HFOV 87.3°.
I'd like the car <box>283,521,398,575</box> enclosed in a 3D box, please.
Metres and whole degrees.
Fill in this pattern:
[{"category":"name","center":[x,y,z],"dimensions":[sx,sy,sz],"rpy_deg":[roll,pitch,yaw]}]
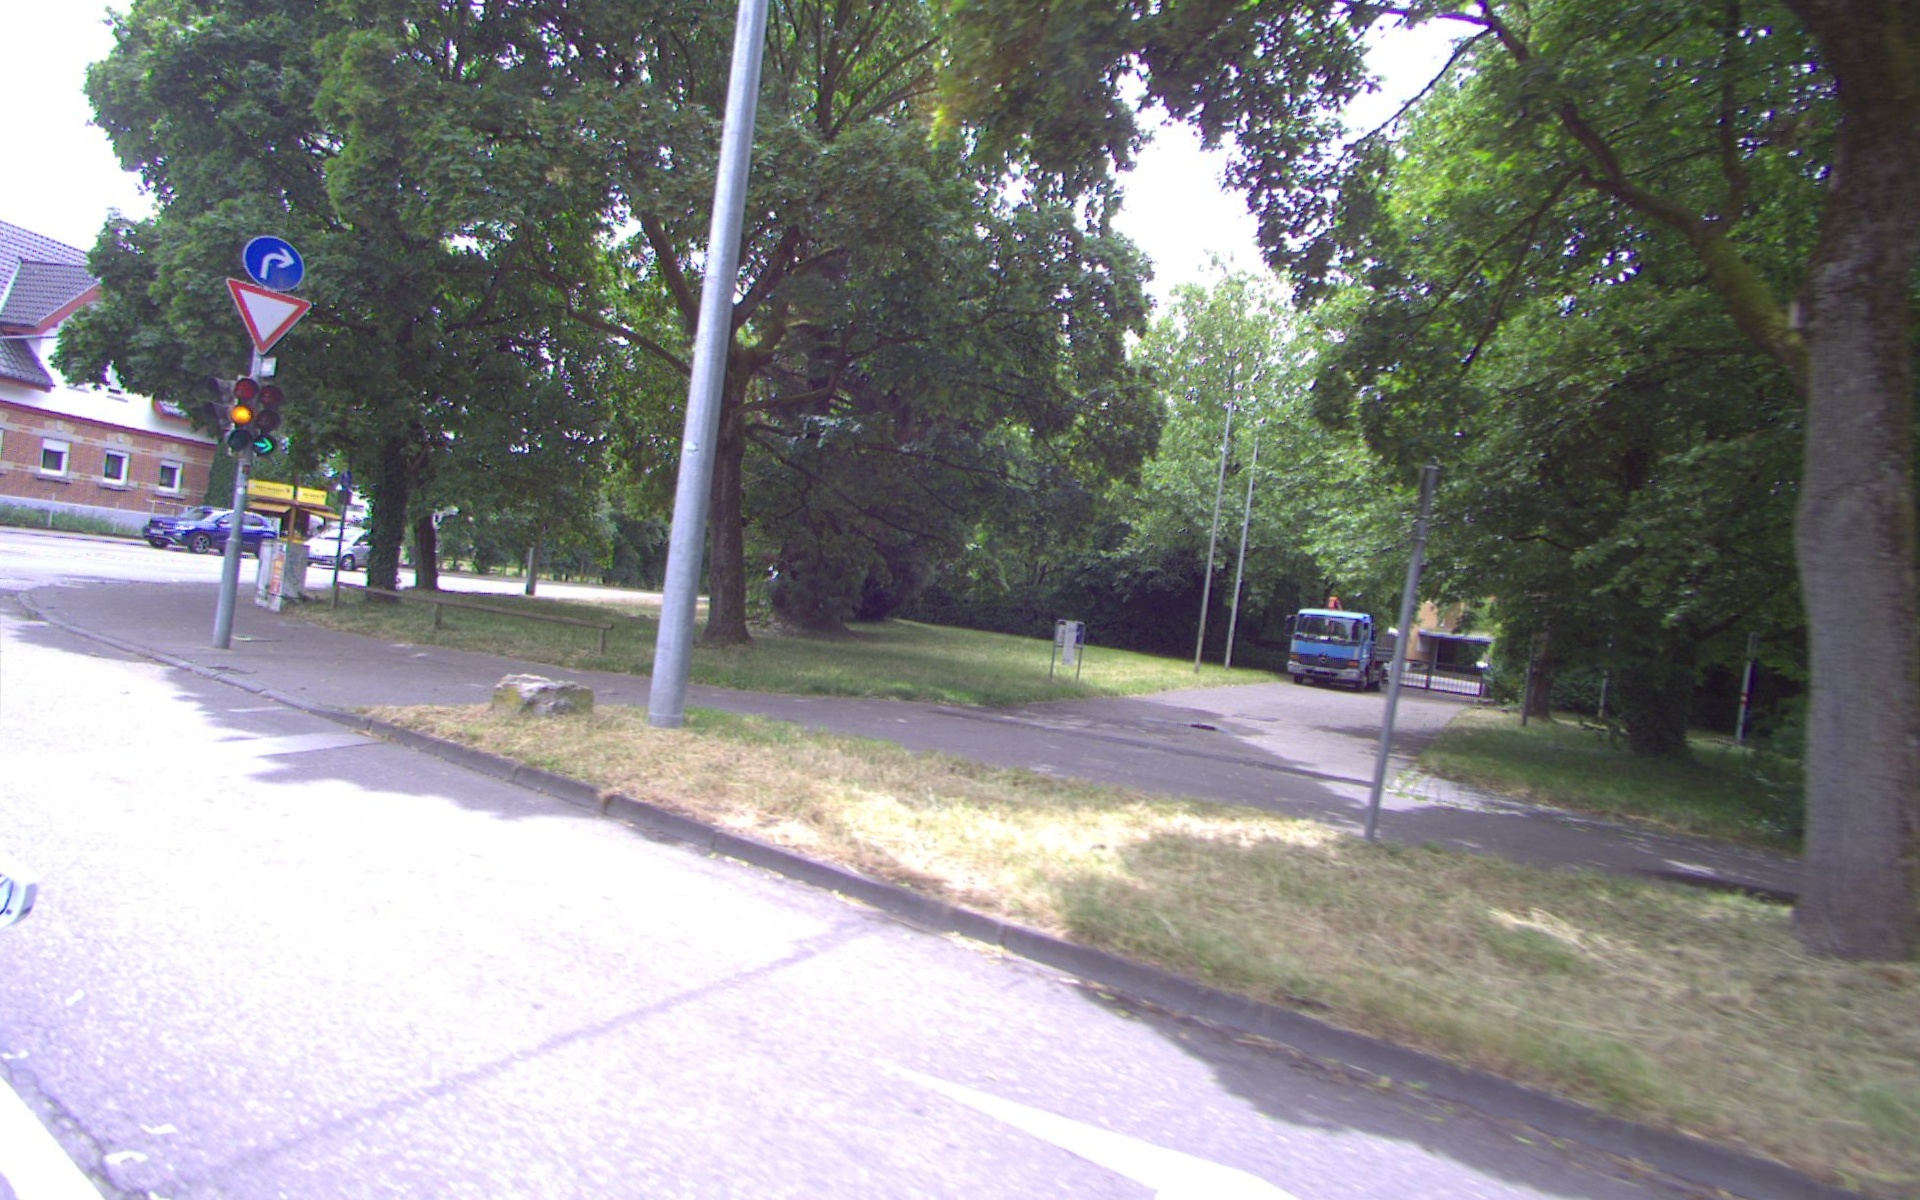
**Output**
[{"category":"car","center":[-22.171,-1.828,36.168],"dimensions":[1.747,1.537,3.558],"rpy_deg":[6,0,2]}]

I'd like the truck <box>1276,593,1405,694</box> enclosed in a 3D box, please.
[{"category":"truck","center":[13.280,1.626,34.685],"dimensions":[2.442,2.882,7.417],"rpy_deg":[7,0,32]}]

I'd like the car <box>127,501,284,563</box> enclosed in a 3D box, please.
[{"category":"car","center":[-25.441,-2.261,34.115],"dimensions":[1.891,1.537,4.002],"rpy_deg":[7,0,8]}]
